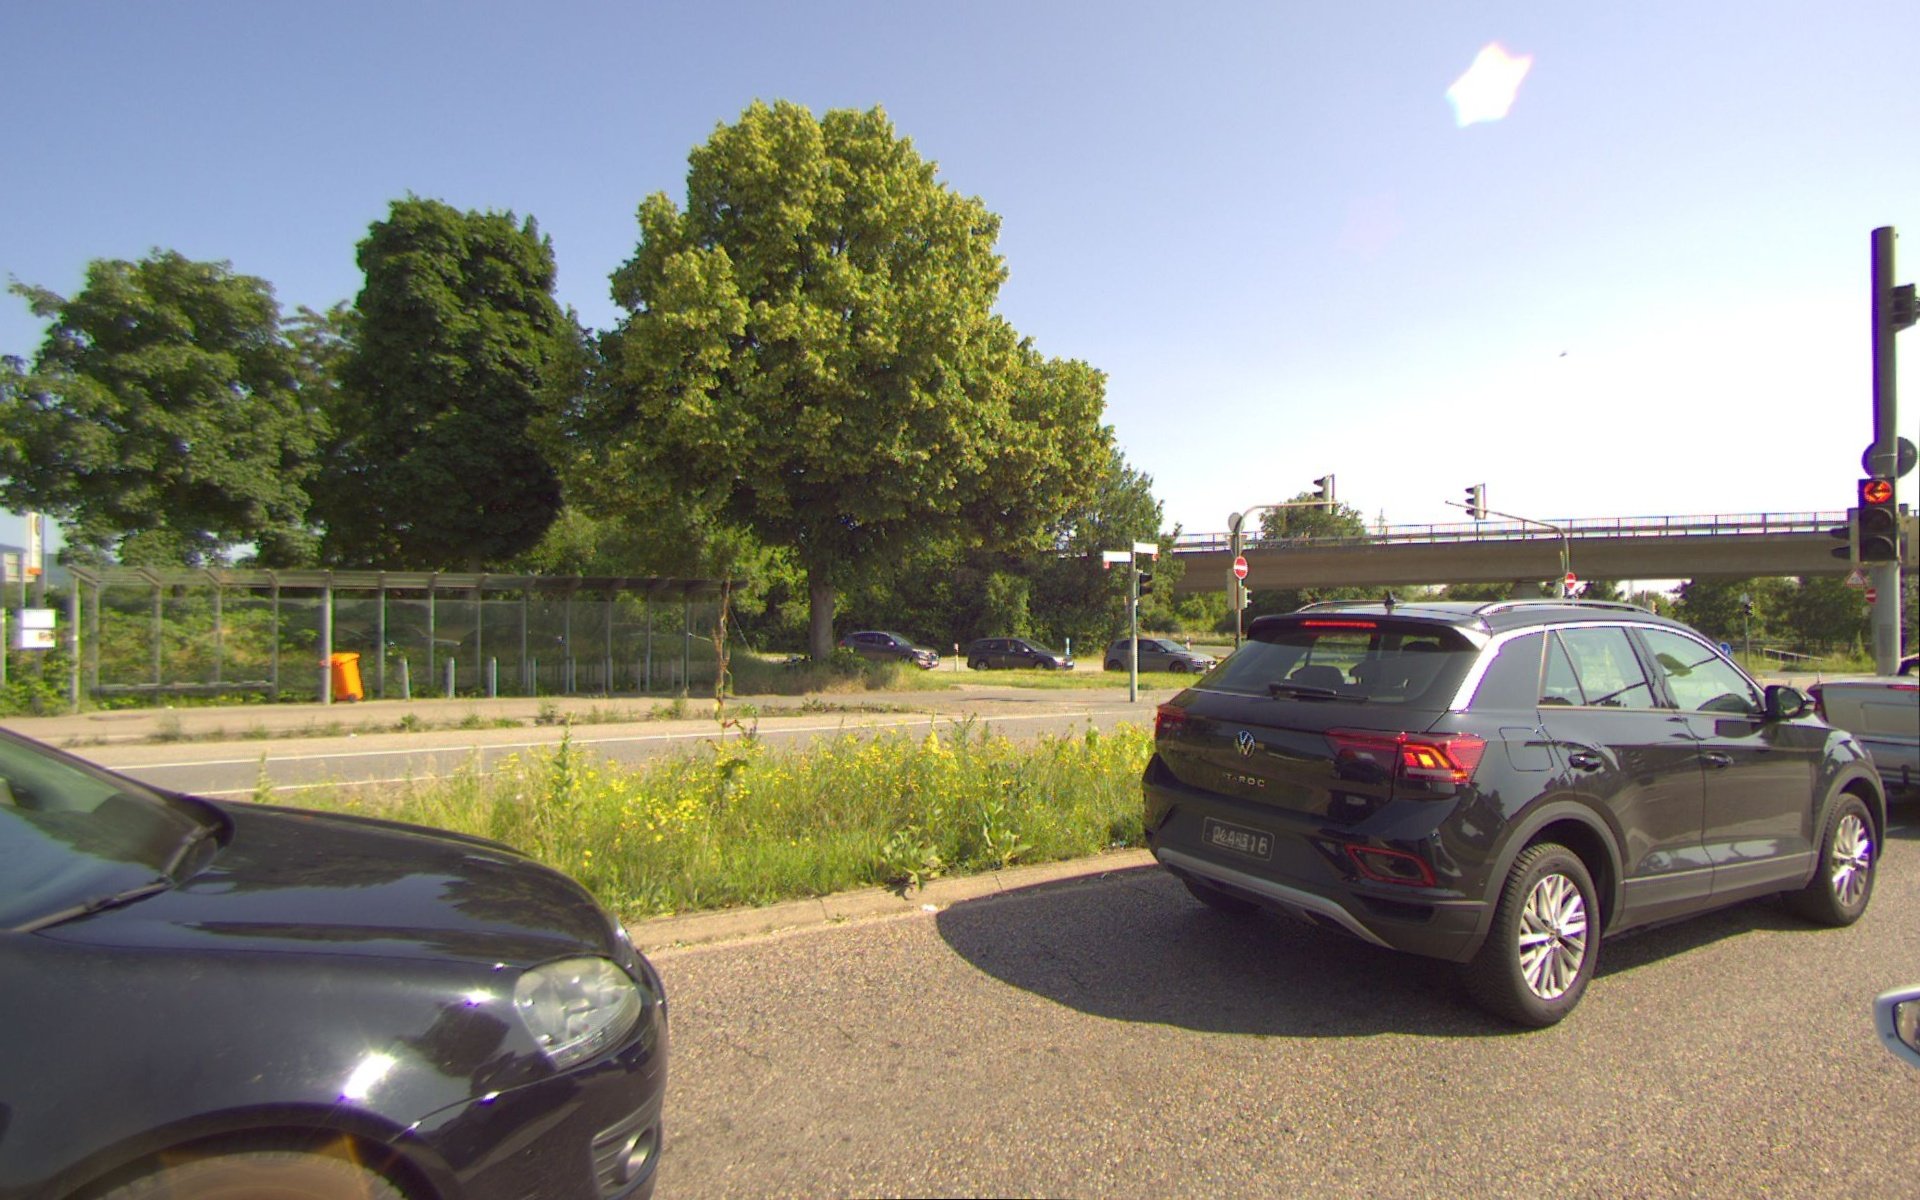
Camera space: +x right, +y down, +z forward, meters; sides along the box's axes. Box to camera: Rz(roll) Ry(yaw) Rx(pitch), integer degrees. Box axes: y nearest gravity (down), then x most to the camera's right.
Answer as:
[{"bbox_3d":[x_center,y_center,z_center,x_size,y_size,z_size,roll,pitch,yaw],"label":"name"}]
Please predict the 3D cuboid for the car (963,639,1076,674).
[{"bbox_3d":[2.352,2.203,40.042,4.279,1.297,1.647,-1,-2,32],"label":"car"}]

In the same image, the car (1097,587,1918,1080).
[{"bbox_3d":[2.814,0.772,4.967,4.049,1.568,1.721,1,-1,-30],"label":"car"}]

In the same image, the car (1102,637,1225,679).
[{"bbox_3d":[7.408,2.076,36.783,4.066,1.443,1.862,-1,-2,41],"label":"car"}]

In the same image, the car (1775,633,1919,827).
[{"bbox_3d":[8.585,0.967,8.208,4.049,1.352,1.666,1,-1,-30],"label":"car"}]

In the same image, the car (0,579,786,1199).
[{"bbox_3d":[-2.507,0.712,1.735,4.049,1.494,1.658,1,-1,-30],"label":"car"}]

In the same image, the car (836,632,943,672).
[{"bbox_3d":[-2.999,2.162,42.471,4.272,1.616,1.650,-1,-2,25],"label":"car"}]
